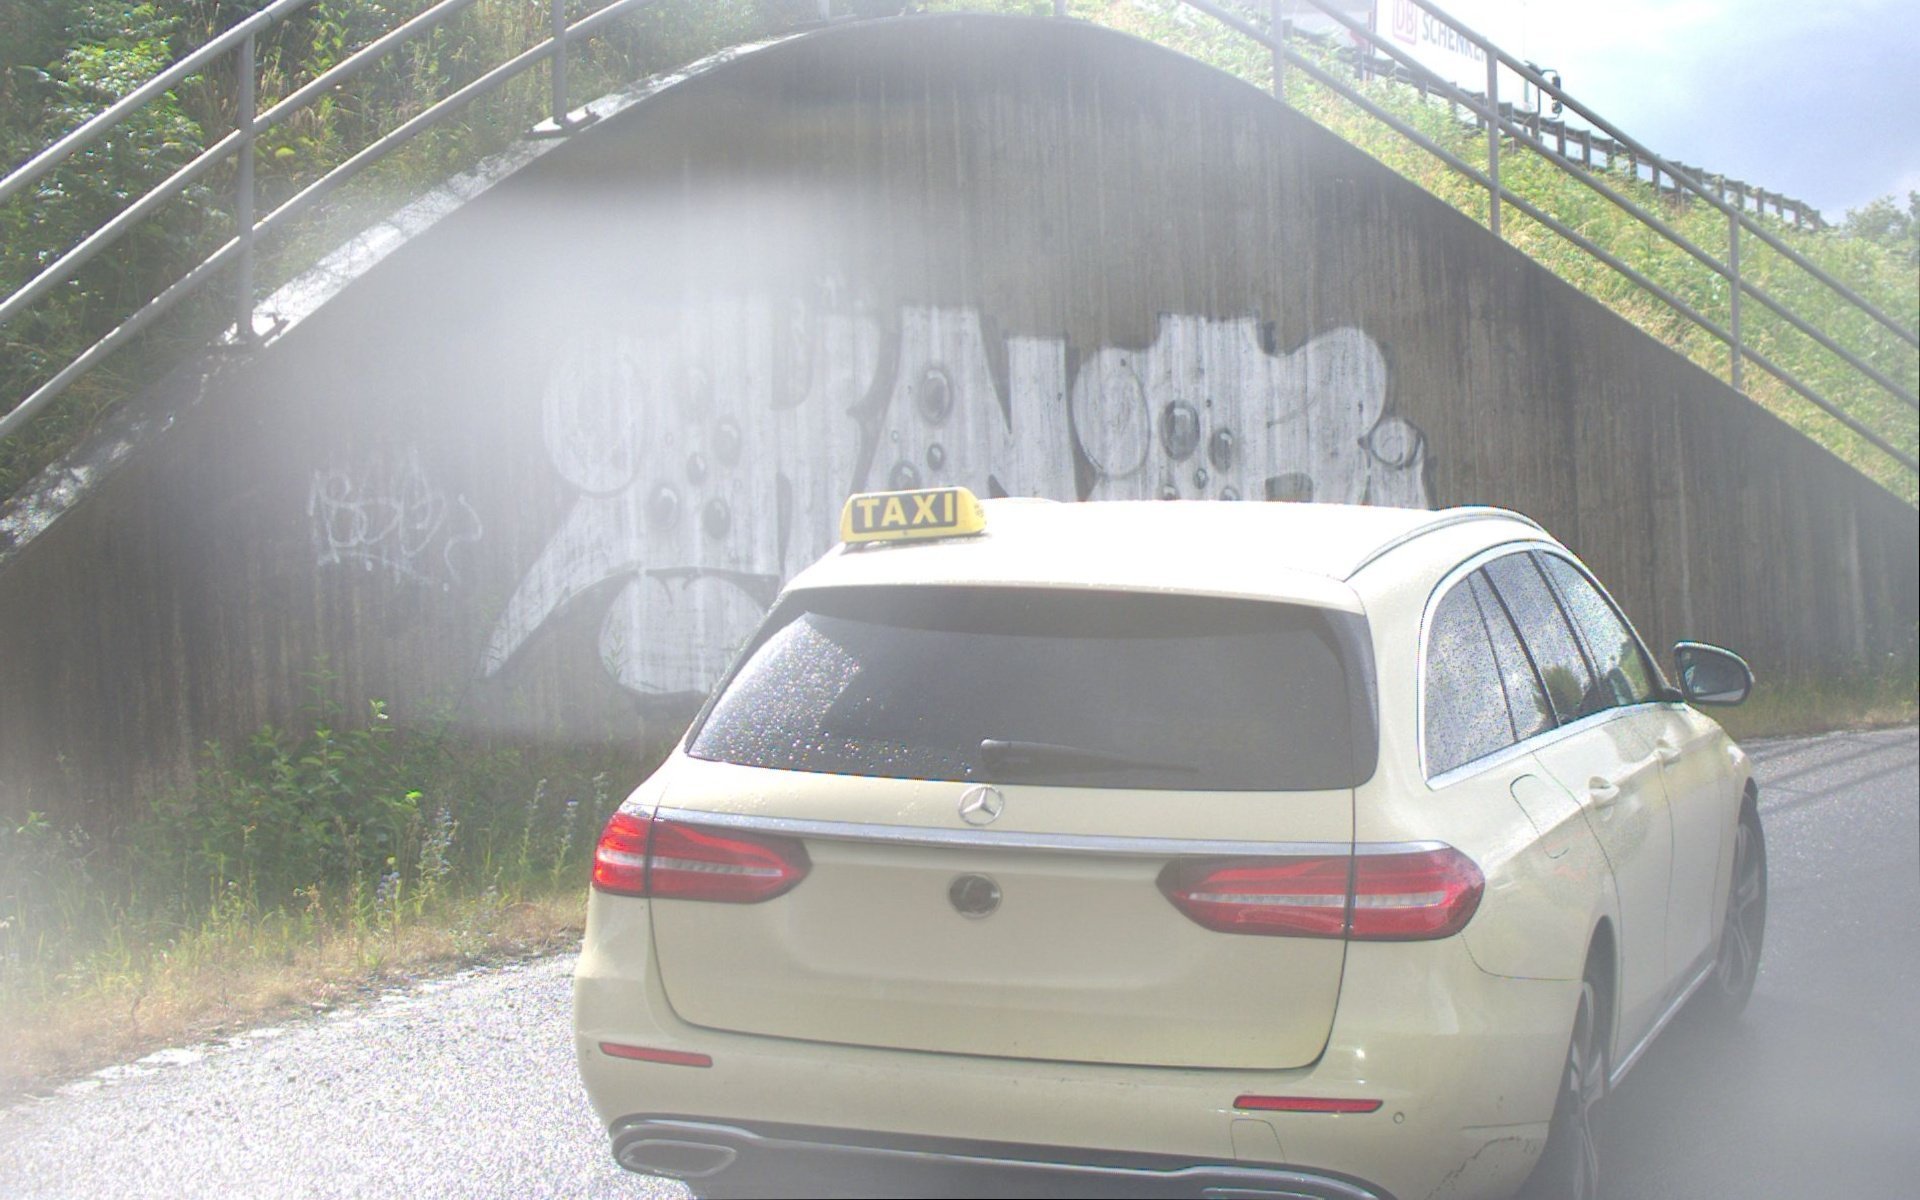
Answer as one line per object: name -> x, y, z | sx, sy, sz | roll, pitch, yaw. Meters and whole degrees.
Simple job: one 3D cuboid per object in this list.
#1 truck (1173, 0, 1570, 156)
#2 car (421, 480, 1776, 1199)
truck -> 6.624, -9.469, 53.675 | 3.185, 3.952, 9.223 | 1, 1, 27
car -> 0.693, 0.495, 7.862 | 1.918, 1.502, 4.592 | 0, 2, 18
